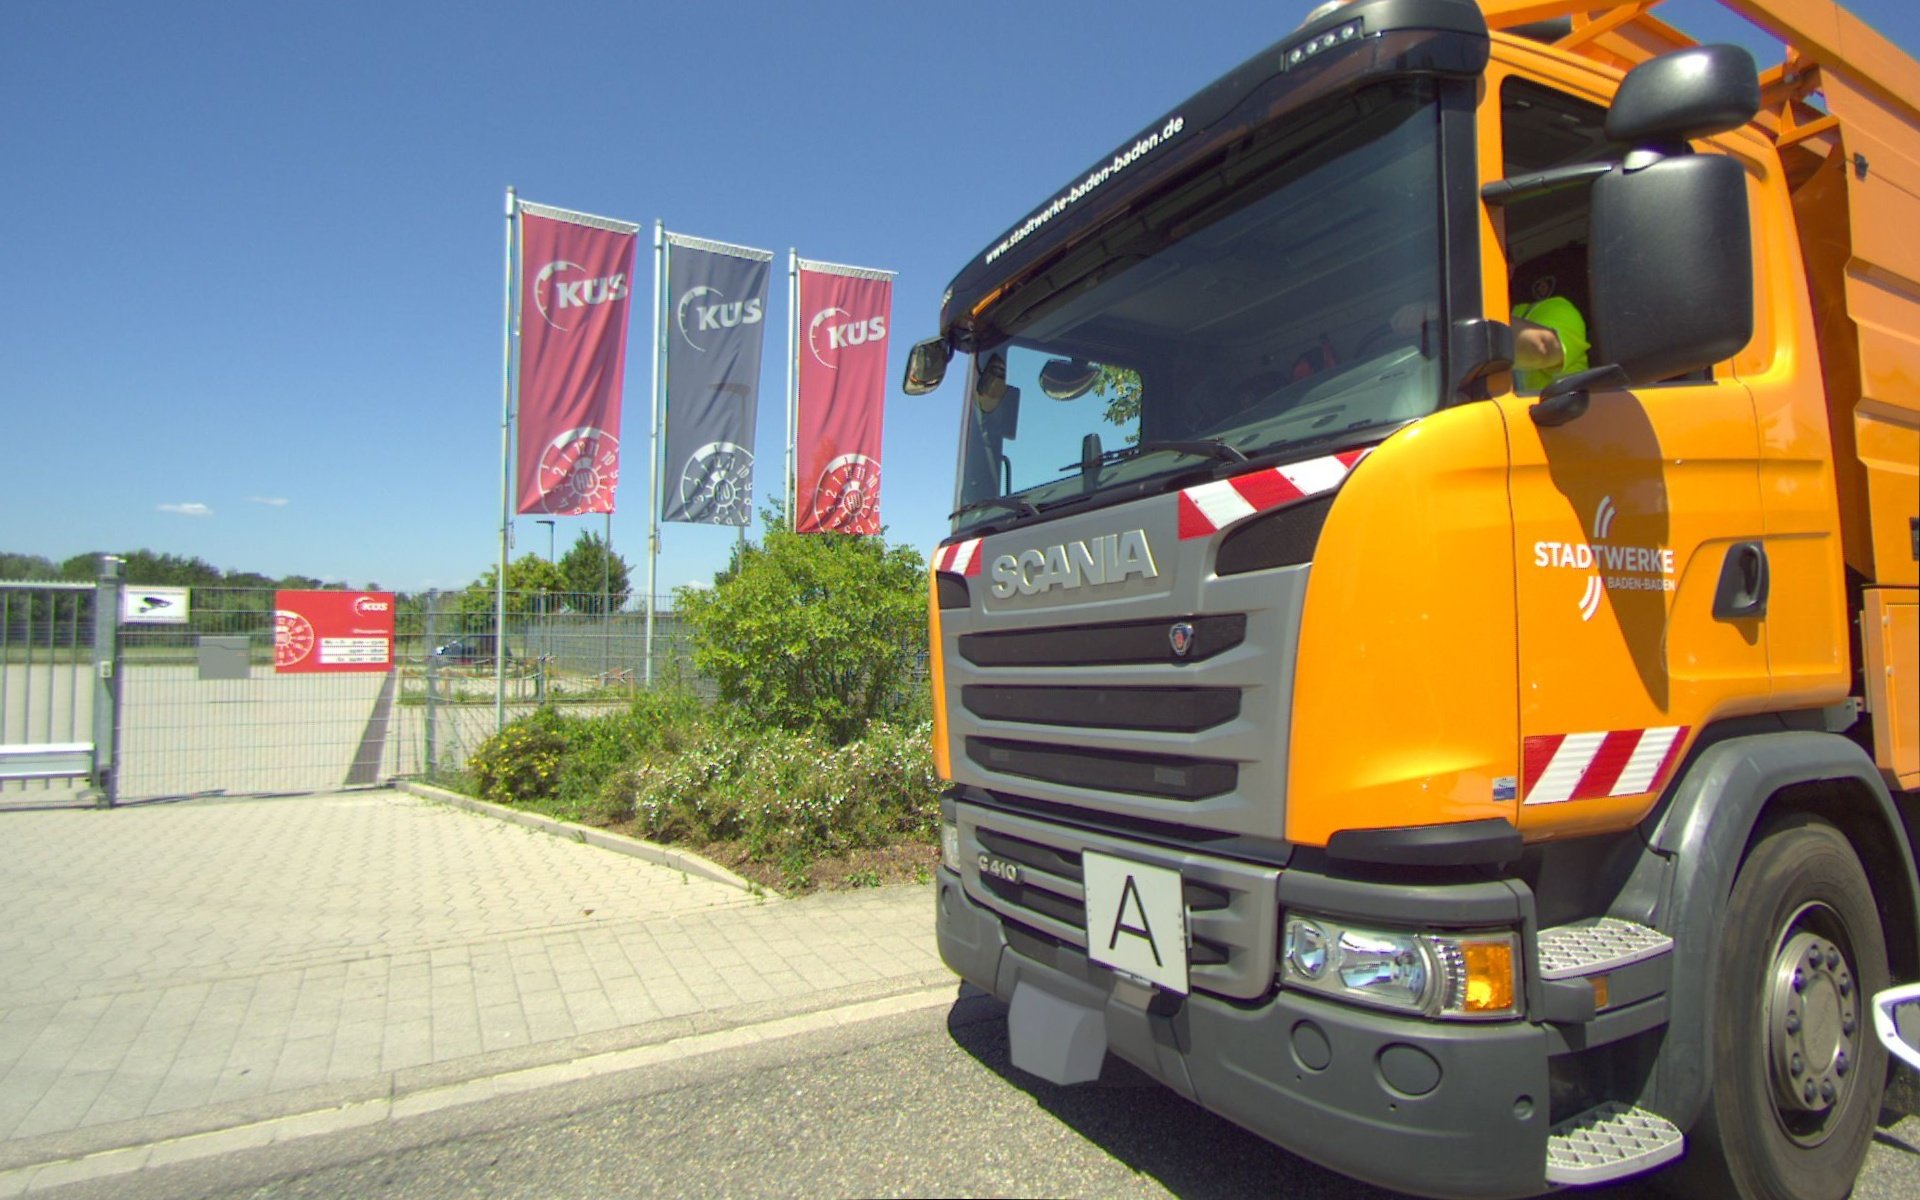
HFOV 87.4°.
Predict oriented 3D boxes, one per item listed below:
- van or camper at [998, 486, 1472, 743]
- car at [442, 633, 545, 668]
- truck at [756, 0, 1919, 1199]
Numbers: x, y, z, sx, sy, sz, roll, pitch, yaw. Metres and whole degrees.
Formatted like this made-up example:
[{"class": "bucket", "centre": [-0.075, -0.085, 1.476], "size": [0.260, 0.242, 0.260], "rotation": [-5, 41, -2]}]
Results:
[{"class": "van or camper", "centre": [3.341, 0.262, 14.216], "size": [2.543, 2.719, 6.749], "rotation": [1, -2, -28]}, {"class": "car", "centre": [-20.502, 2.202, 44.132], "size": [3.961, 1.476, 1.699], "rotation": [2, -2, -31]}, {"class": "truck", "centre": [4.347, -0.126, 5.271], "size": [10.380, 3.591, 2.587], "rotation": [2, -3, -31]}]
